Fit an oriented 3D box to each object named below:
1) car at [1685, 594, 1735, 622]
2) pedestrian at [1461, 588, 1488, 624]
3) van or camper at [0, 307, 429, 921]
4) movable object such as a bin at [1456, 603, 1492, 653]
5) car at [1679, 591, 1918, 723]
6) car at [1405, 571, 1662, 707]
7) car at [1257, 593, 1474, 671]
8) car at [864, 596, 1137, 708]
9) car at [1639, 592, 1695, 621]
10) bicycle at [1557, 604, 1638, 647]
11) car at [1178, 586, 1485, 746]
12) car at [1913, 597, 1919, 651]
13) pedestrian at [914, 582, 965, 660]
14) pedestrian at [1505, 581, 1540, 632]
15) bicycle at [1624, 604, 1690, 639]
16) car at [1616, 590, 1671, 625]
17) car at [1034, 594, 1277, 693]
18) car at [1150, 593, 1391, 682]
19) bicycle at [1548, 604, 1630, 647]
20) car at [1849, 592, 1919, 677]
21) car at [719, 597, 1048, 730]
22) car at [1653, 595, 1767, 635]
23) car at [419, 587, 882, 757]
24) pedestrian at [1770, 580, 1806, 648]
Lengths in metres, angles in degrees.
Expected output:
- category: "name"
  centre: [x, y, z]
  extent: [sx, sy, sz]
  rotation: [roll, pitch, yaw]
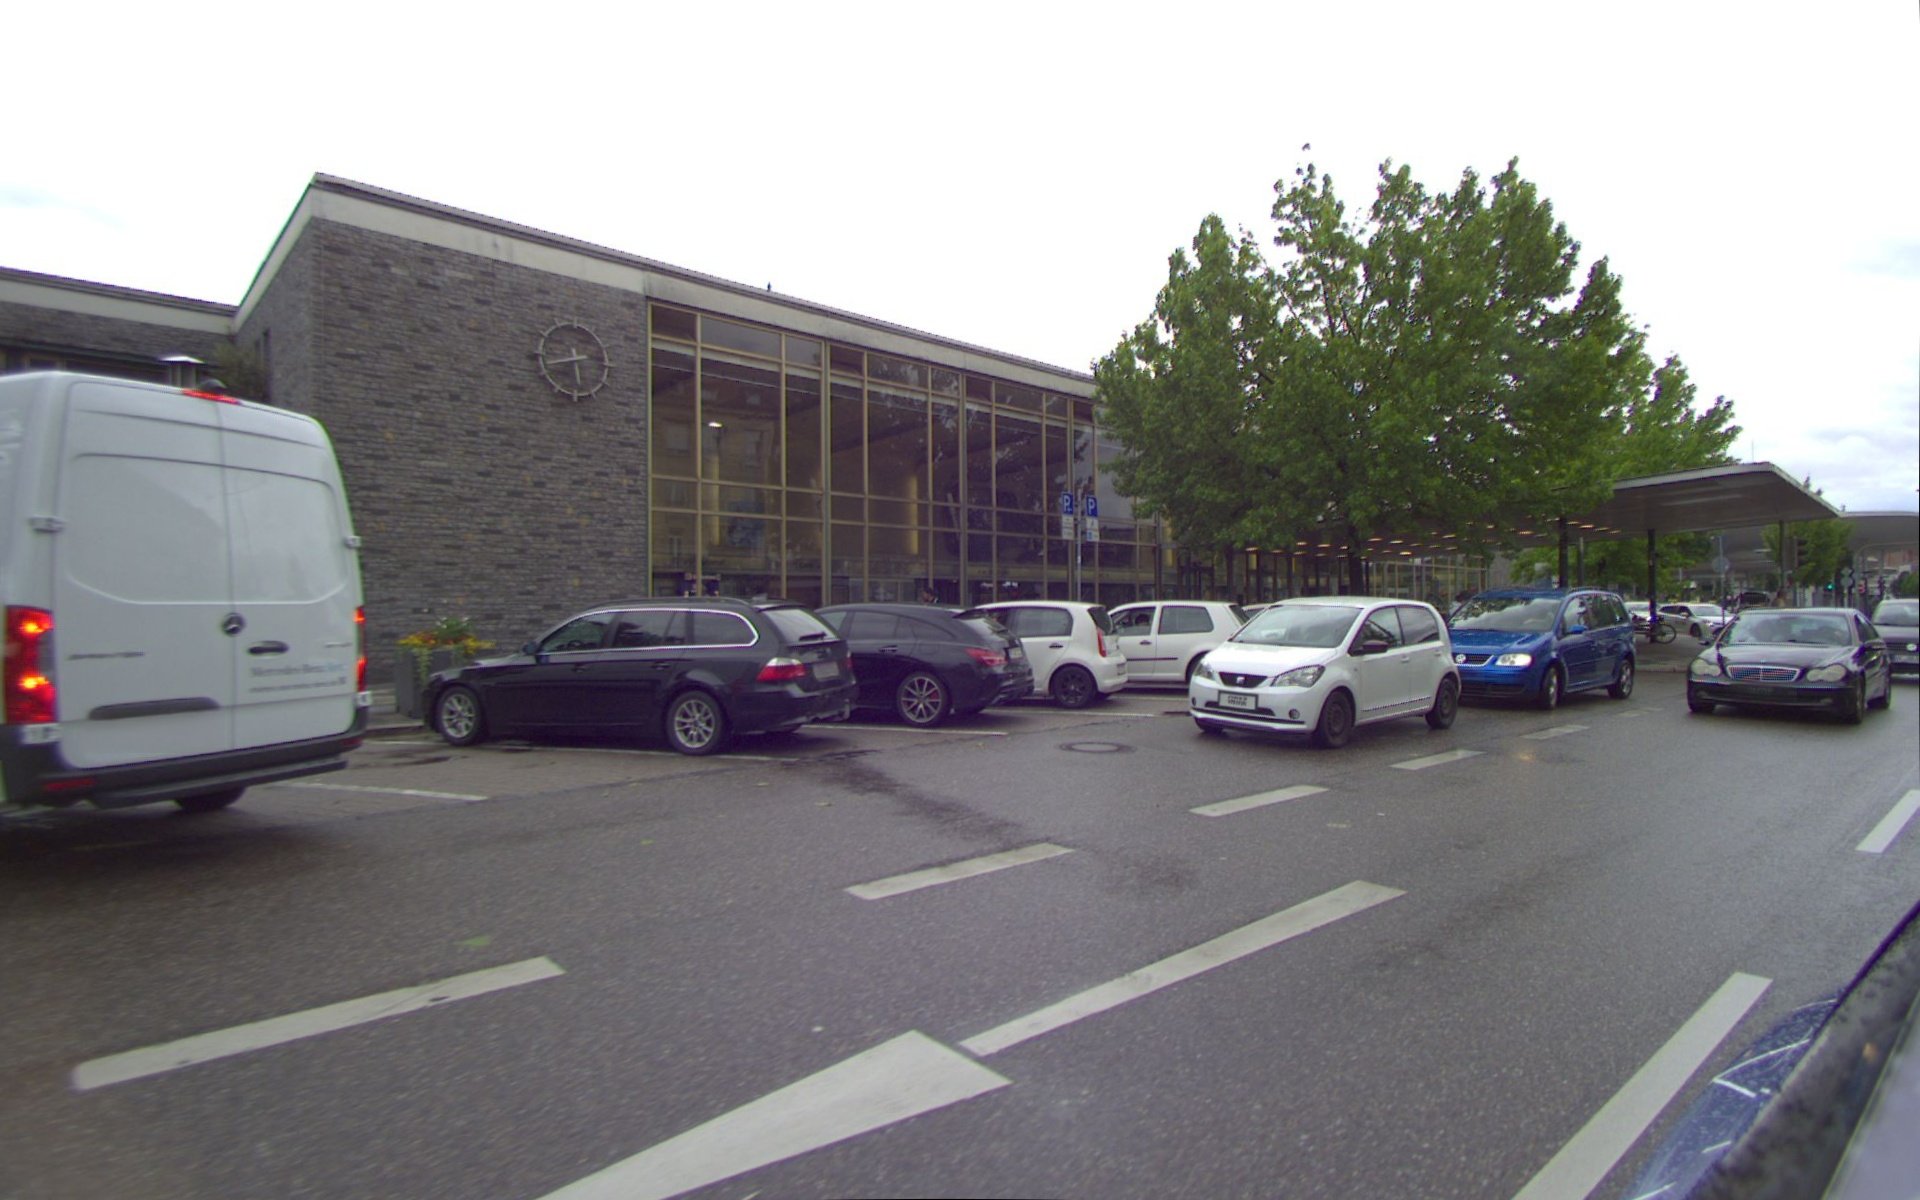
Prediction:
- category: "car"
  centre: [45.053, 0.467, 60.762]
  extent: [4.011, 1.610, 1.816]
  rotation: [0, 0, -45]
- category: "pedestrian"
  centre: [22.322, 0.266, 43.904]
  extent: [0.837, 1.530, 0.761]
  rotation: [0, 0, -42]
- category: "van or camper"
  centre: [-7.043, 0.036, 6.957]
  extent: [6.447, 2.906, 2.266]
  rotation: [0, 0, 20]
- category: "movable object such as a bin"
  centre: [11.800, 0.637, 23.241]
  extent: [0.686, 1.121, 0.542]
  rotation: [0, 0, 34]
- category: "car"
  centre: [11.217, 0.641, 13.462]
  extent: [3.759, 1.493, 1.870]
  rotation: [0, 0, -41]
- category: "car"
  centre: [8.457, 0.480, 14.775]
  extent: [4.337, 1.704, 1.824]
  rotation: [0, 0, -39]
- category: "car"
  centre: [8.105, 0.570, 20.250]
  extent: [3.894, 1.417, 1.762]
  rotation: [0, 0, 28]
- category: "car"
  centre: [0.604, 0.665, 14.554]
  extent: [3.576, 1.417, 1.767]
  rotation: [0, 0, 21]
- category: "car"
  centre: [39.444, 0.341, 56.442]
  extent: [4.392, 1.510, 1.816]
  rotation: [0, 0, -45]
- category: "bicycle"
  centre: [16.562, 0.646, 26.314]
  extent: [1.696, 1.059, 0.522]
  rotation: [1, 0, 15]
- category: "car"
  centre: [4.192, 0.604, 11.219]
  extent: [3.524, 1.493, 1.660]
  rotation: [0, 0, -40]
- category: "car"
  centre: [28.459, 0.664, 28.874]
  extent: [3.607, 1.505, 1.617]
  rotation: [0, 0, -43]
- category: "pedestrian"
  centre: [-0.444, 0.452, 22.147]
  extent: [0.819, 1.662, 0.757]
  rotation: [0, 0, -42]
- category: "pedestrian"
  centre: [20.222, 0.228, 36.381]
  extent: [0.895, 1.780, 0.824]
  rotation: [0, 0, -36]
- category: "bicycle"
  centre: [22.286, 0.667, 32.387]
  extent: [1.712, 1.059, 0.518]
  rotation: [2, 1, 39]
- category: "car"
  centre: [32.146, 0.320, 47.554]
  extent: [1.812, 1.575, 4.402]
  rotation: [0, 0, 38]
- category: "car"
  centre: [3.128, 0.625, 16.101]
  extent: [3.576, 1.417, 1.767]
  rotation: [0, 0, 21]
- category: "car"
  centre: [5.448, 0.595, 17.876]
  extent: [3.882, 1.417, 1.767]
  rotation: [0, 0, 21]
- category: "bicycle"
  centre: [16.009, 0.646, 25.770]
  extent: [1.691, 1.059, 0.524]
  rotation: [0, 0, 7]
- category: "car"
  centre: [18.358, 0.597, 19.030]
  extent: [3.757, 1.493, 1.871]
  rotation: [0, 0, -39]
- category: "car"
  centre: [-0.911, 0.680, 12.407]
  extent: [3.644, 1.417, 1.767]
  rotation: [0, 0, 21]
- category: "car"
  centre: [30.182, 0.565, 40.892]
  extent: [1.789, 1.510, 4.152]
  rotation: [0, 0, 6]
- category: "car"
  centre: [-3.211, 0.620, 10.616]
  extent: [4.413, 1.490, 1.907]
  rotation: [0, 0, 20]
- category: "pedestrian"
  centre: [21.895, 0.358, 26.752]
  extent: [0.686, 1.773, 0.561]
  rotation: [0, 1, -36]
